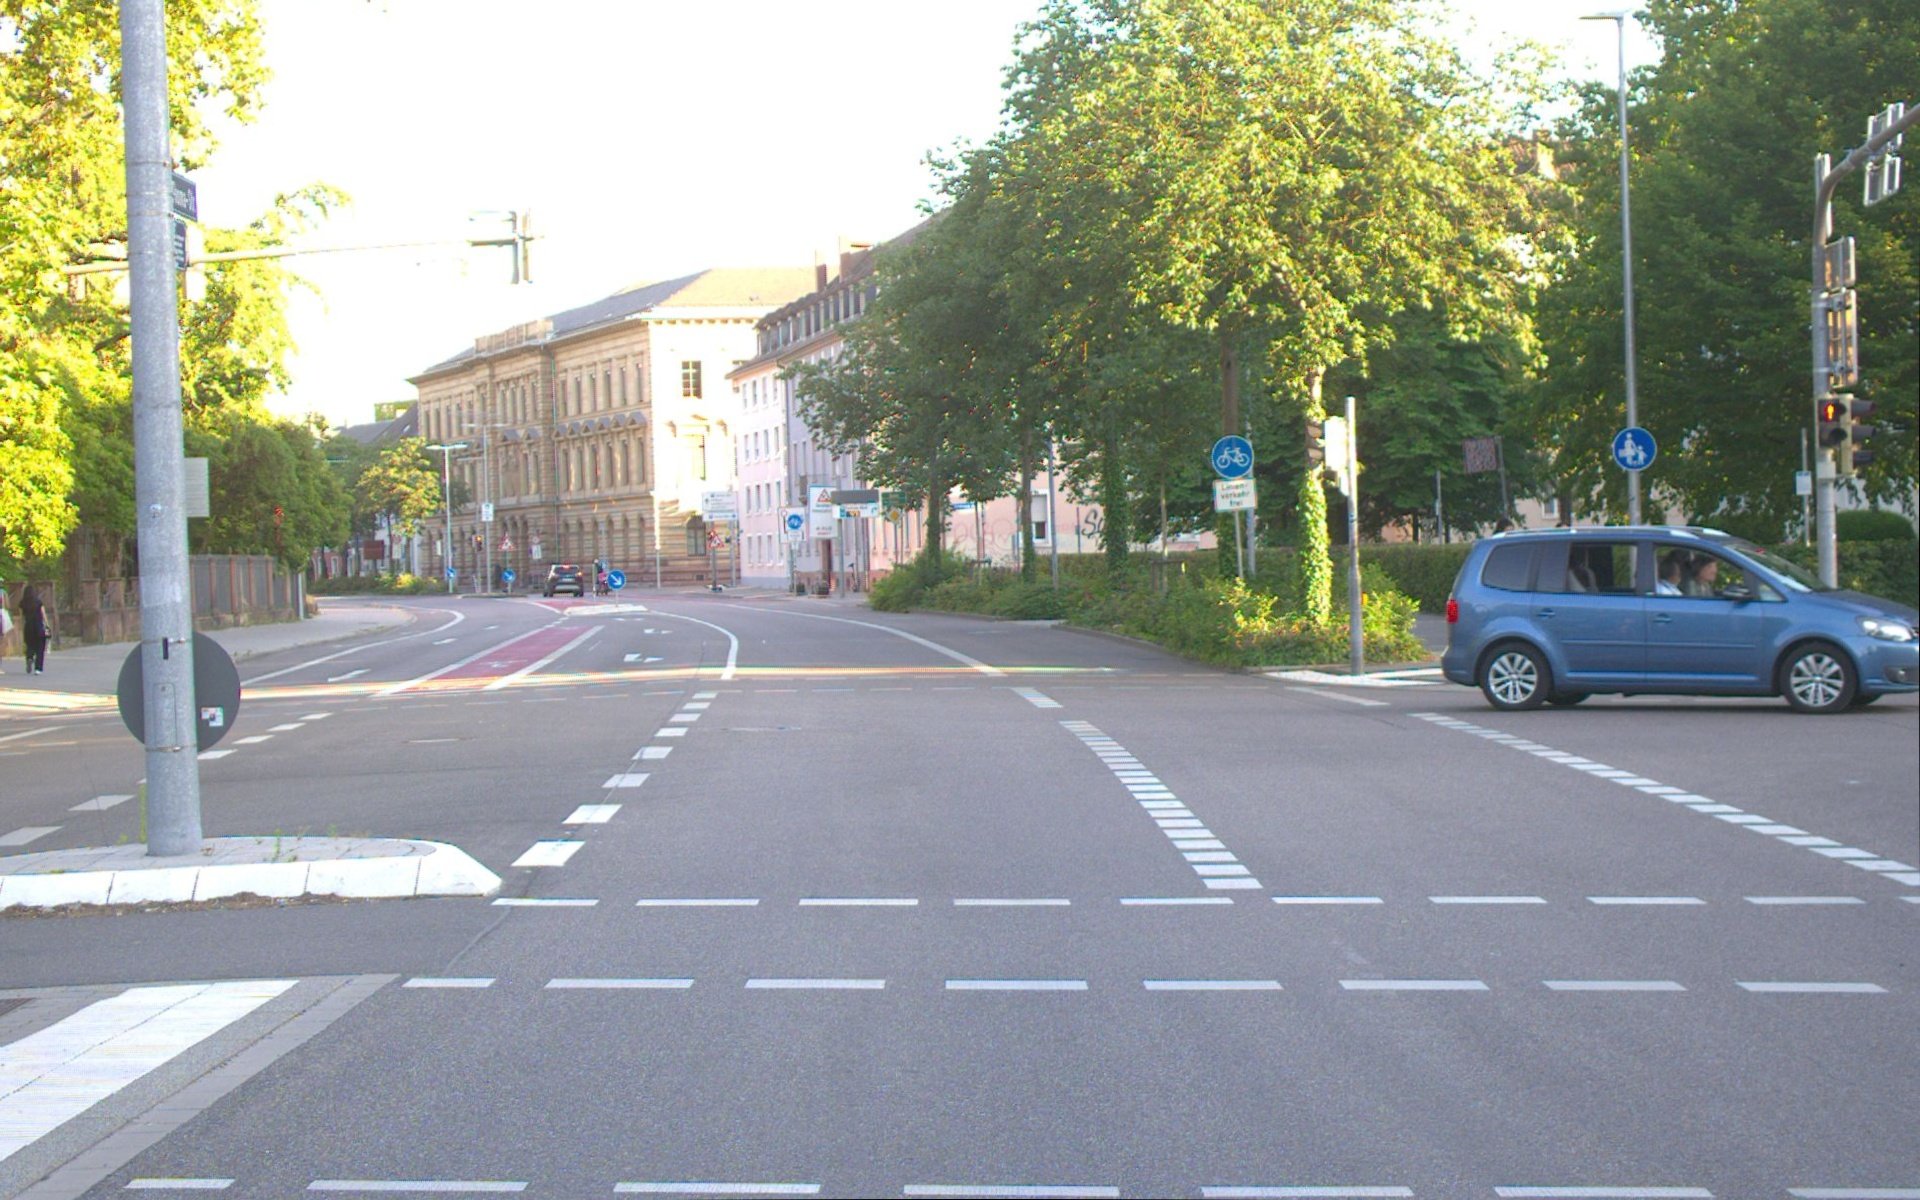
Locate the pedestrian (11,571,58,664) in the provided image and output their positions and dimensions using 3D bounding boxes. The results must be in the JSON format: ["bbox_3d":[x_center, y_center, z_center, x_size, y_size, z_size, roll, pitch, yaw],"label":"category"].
[{"bbox_3d":[-15.938,0.299,59.189,0.599,1.568,0.646,-2,1,-1],"label":"pedestrian"}]

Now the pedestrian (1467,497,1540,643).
[{"bbox_3d":[7.551,-0.422,47.786,0.870,2.007,0.722,0,1,-1],"label":"pedestrian"}]

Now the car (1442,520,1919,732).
[{"bbox_3d":[6.641,0.208,30.466,4.288,1.714,1.853,0,3,27],"label":"car"}]

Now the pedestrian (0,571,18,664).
[{"bbox_3d":[-16.580,0.298,59.187,0.535,1.591,0.590,-2,1,-1],"label":"pedestrian"}]

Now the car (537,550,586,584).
[{"bbox_3d":[-19.691,-1.612,169.715,1.819,1.583,4.001,-3,1,-14],"label":"car"}]

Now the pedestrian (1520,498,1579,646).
[{"bbox_3d":[8.064,-0.383,47.055,0.635,2.007,0.720,-1,1,-4],"label":"pedestrian"}]
